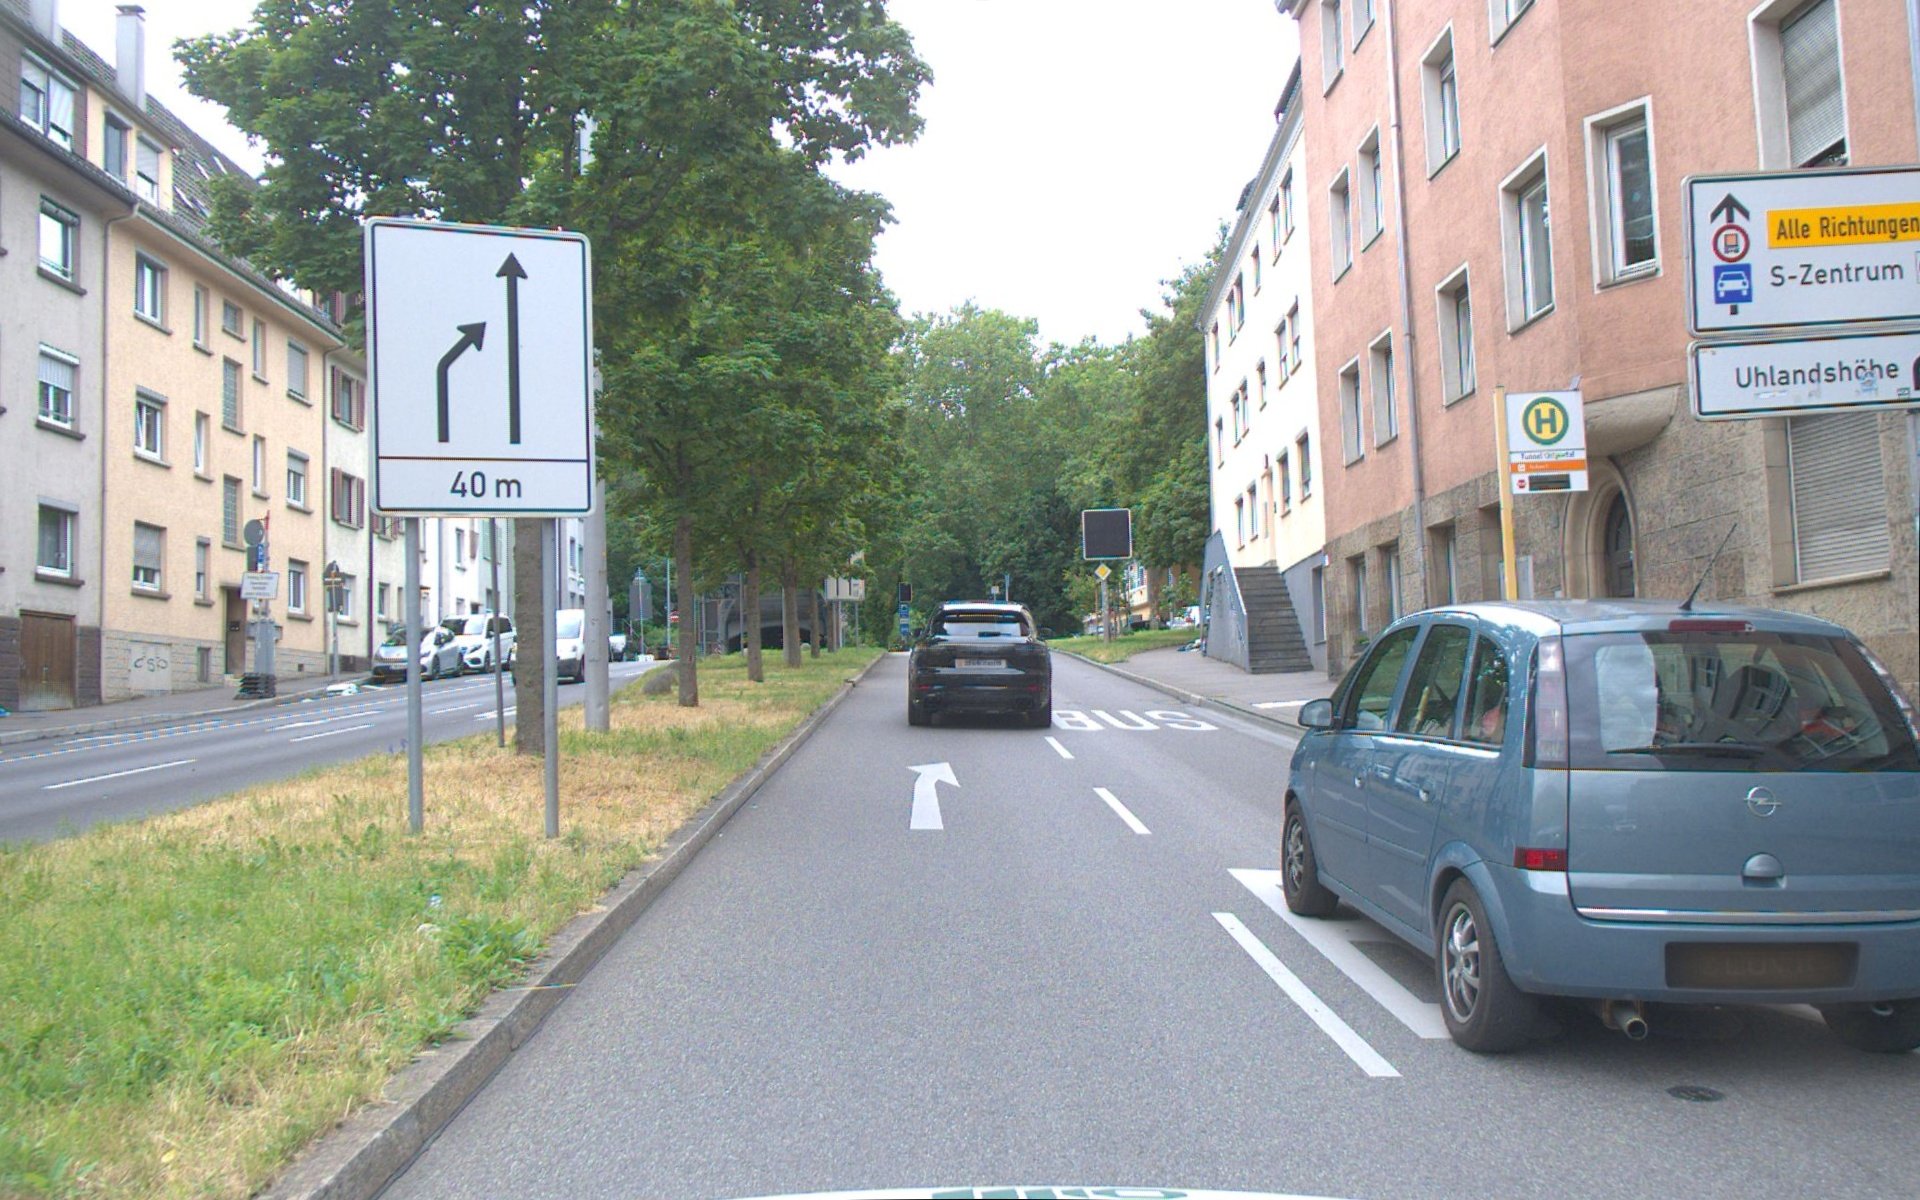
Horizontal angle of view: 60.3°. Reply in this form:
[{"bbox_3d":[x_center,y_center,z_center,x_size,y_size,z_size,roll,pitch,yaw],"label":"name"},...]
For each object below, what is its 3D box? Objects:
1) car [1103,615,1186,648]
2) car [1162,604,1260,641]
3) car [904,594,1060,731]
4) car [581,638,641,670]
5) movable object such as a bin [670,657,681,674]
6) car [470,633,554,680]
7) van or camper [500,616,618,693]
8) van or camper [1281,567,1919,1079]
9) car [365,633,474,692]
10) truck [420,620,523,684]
[{"bbox_3d":[8.894,1.510,79.443,1.965,1.442,3.974,-4,-2,43],"label":"car"},{"bbox_3d":[11.401,1.021,75.194,4.068,1.453,1.846,-3,-1,-27],"label":"car"},{"bbox_3d":[0.296,0.874,23.388,1.953,1.682,3.999,-2,-2,0],"label":"car"},{"bbox_3d":[-16.835,2.623,79.993,1.953,1.425,4.516,-2,-2,-1],"label":"car"},{"bbox_3d":[-16.642,3.829,96.742,0.507,0.984,0.442,2,-4,-16],"label":"movable object such as a bin"},{"bbox_3d":[-16.247,2.048,60.145,1.953,1.580,4.379,-2,-1,-2],"label":"car"},{"bbox_3d":[-10.001,1.337,41.618,1.869,1.792,4.653,-1,-1,-1],"label":"van or camper"},{"bbox_3d":[2.610,0.735,7.048,1.700,1.605,3.644,0,-1,-1],"label":"van or camper"},{"bbox_3d":[-15.838,1.815,48.679,1.953,1.580,4.156,-2,-1,-2],"label":"car"},{"bbox_3d":[-16.081,1.712,54.756,1.953,1.954,5.344,-2,-1,-2],"label":"truck"}]
